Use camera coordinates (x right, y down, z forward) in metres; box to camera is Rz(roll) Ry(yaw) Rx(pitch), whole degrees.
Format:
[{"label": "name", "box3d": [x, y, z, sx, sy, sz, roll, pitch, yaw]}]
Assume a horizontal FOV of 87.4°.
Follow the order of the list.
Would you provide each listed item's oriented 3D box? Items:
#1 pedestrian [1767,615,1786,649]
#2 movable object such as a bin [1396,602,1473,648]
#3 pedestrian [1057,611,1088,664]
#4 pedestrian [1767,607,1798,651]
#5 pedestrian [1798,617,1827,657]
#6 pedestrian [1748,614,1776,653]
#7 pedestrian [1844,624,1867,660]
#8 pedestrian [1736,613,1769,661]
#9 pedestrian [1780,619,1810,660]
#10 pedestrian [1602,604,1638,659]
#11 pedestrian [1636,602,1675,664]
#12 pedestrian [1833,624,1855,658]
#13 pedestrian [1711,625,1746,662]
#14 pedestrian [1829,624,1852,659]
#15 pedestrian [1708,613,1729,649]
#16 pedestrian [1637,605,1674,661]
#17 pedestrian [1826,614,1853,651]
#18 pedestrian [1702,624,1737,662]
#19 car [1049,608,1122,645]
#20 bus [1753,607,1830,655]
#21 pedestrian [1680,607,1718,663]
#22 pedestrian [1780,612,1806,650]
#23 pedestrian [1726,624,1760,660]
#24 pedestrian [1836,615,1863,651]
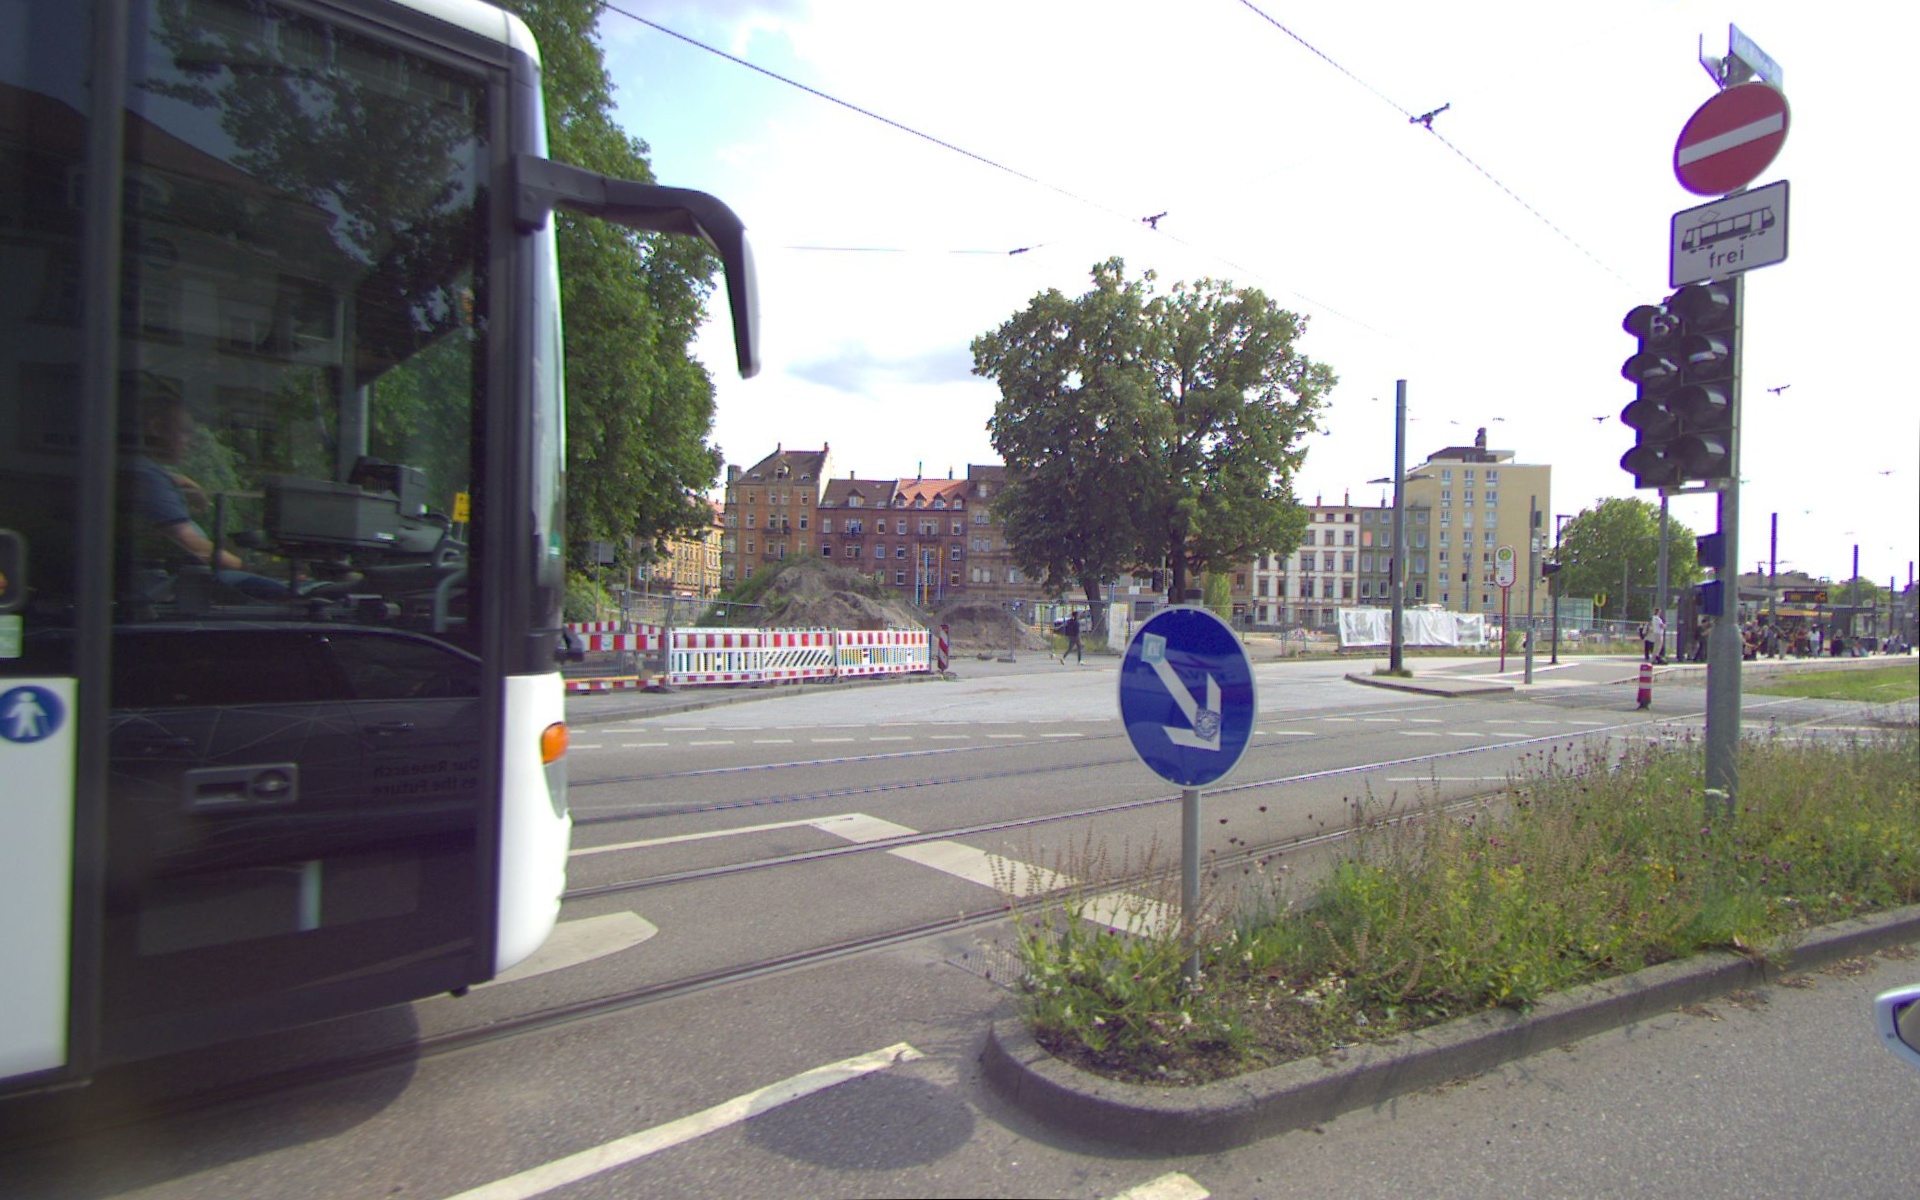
[{"label": "pedestrian", "box3d": [49.890, 1.949, 61.366, 0.718, 2.040, 0.942, 2, 0, 30]}, {"label": "movable object such as a bin", "box3d": [28.286, 1.515, 59.880, 3.965, 2.608, 2.622, 2, -1, -38]}, {"label": "pedestrian", "box3d": [3.591, 1.191, 32.008, 0.780, 1.674, 0.576, 2, -1, -30]}, {"label": "pedestrian", "box3d": [39.363, 1.388, 48.093, 0.926, 2.040, 0.730, 2, 0, 25]}, {"label": "pedestrian", "box3d": [44.711, 1.949, 52.691, 0.926, 2.040, 0.730, 2, 0, 25]}, {"label": "pedestrian", "box3d": [42.880, 1.801, 53.724, 0.925, 2.040, 0.731, 2, 0, 20]}, {"label": "pedestrian", "box3d": [52.669, 2.462, 59.082, 0.929, 2.040, 0.728, 2, 0, 39]}, {"label": "pedestrian", "box3d": [34.665, 1.628, 43.913, 0.724, 2.040, 0.933, 2, 0, -38]}, {"label": "pedestrian", "box3d": [42.582, 1.998, 51.221, 0.925, 2.040, 0.731, 2, 0, 20]}, {"label": "pedestrian", "box3d": [25.210, 1.200, 38.368, 0.724, 2.040, 0.933, 2, 0, -38]}, {"label": "pedestrian", "box3d": [23.437, 1.105, 33.846, 0.792, 2.040, 0.808, 2, 0, -38]}, {"label": "pedestrian", "box3d": [54.597, 2.558, 62.049, 0.929, 2.040, 0.728, 2, 0, 39]}, {"label": "pedestrian", "box3d": [31.174, 1.761, 40.739, 0.725, 1.450, 0.933, 2, 0, -38]}, {"label": "pedestrian", "box3d": [53.018, 2.483, 60.500, 0.929, 2.040, 0.728, 2, 0, 39]}, {"label": "pedestrian", "box3d": [43.655, 1.797, 57.815, 0.937, 2.040, 0.722, 2, 0, -43]}, {"label": "pedestrian", "box3d": [26.262, 1.243, 37.944, 0.724, 2.040, 0.933, 2, 0, -38]}, {"label": "pedestrian", "box3d": [50.363, 1.855, 57.538, 0.926, 2.040, 0.730, 2, 0, 25]}, {"label": "pedestrian", "box3d": [30.445, 1.728, 40.258, 0.725, 1.450, 0.933, 2, 0, -38]}, {"label": "car", "box3d": [8.708, 1.852, 69.727, 4.556, 2.450, 2.050, 2, -1, -23]}, {"label": "bus", "box3d": [56.927, 2.126, 68.631, 10.462, 3.022, 2.401, 2, -1, -41]}, {"label": "pedestrian", "box3d": [27.889, 1.313, 37.907, 0.724, 2.040, 0.933, 2, 0, -38]}, {"label": "pedestrian", "box3d": [47.099, 1.745, 56.795, 0.926, 2.040, 0.730, 2, 0, 25]}, {"label": "pedestrian", "box3d": [32.120, 1.717, 41.208, 0.725, 1.450, 0.933, 2, 0, -38]}, {"label": "pedestrian", "box3d": [51.277, 1.896, 57.942, 0.926, 2.040, 0.730, 2, 0, 25]}]
